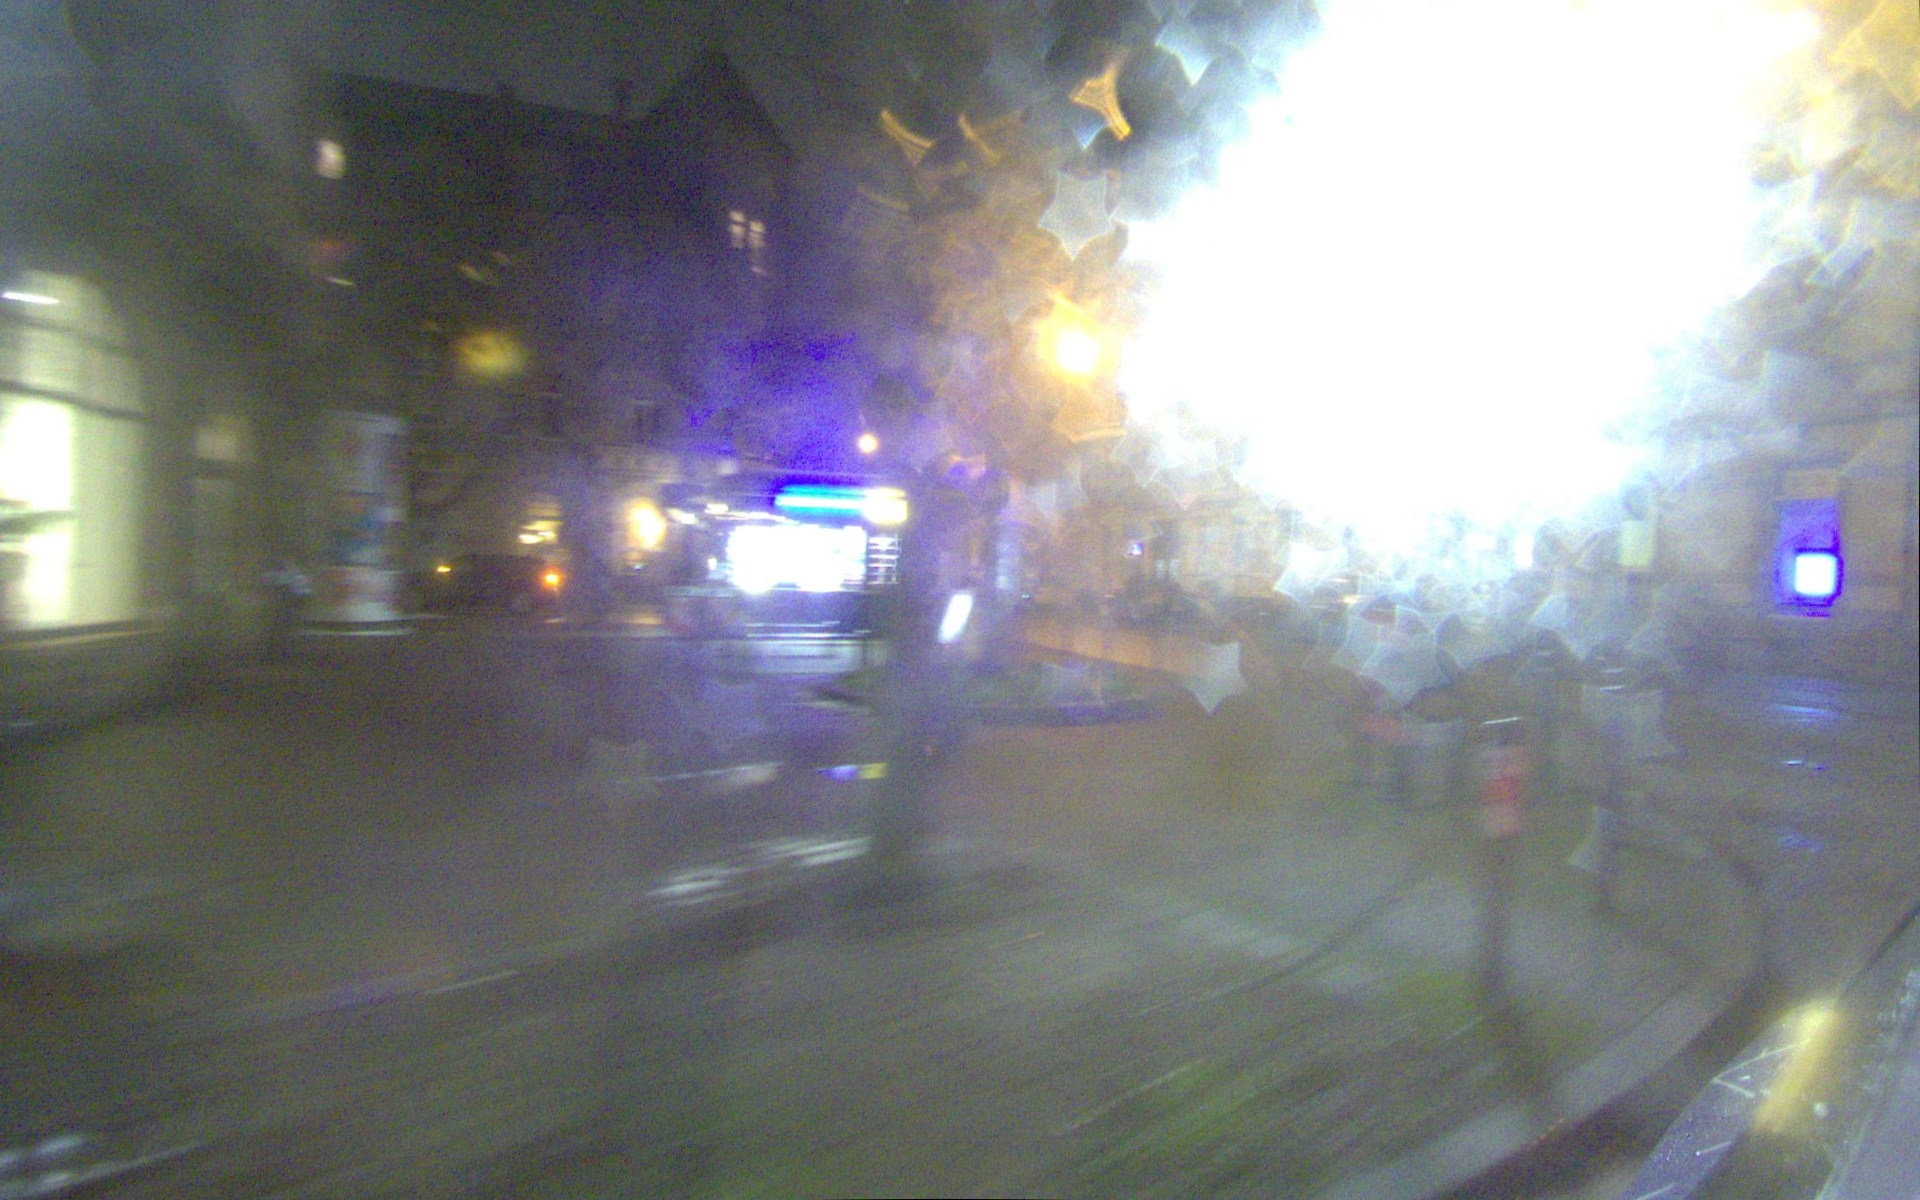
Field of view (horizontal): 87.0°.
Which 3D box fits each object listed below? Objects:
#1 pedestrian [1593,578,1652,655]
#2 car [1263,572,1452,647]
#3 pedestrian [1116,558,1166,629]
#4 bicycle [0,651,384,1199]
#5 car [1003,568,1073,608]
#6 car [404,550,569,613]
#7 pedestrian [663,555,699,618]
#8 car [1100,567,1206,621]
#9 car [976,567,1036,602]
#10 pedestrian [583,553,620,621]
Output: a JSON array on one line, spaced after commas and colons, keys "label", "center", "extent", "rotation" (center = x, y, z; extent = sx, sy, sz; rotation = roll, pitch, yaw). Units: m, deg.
[{"label": "pedestrian", "center": [13.402, 0.326, 20.474], "extent": [0.621, 1.512, 0.770], "rotation": [0, 0, -15]}, {"label": "car", "center": [9.467, 0.146, 24.569], "extent": [1.849, 1.613, 4.507], "rotation": [0, 2, -17]}, {"label": "pedestrian", "center": [4.663, -0.155, 26.133], "extent": [1.021, 1.786, 0.690], "rotation": [2, -1, -26]}, {"label": "bicycle", "center": [-1.604, 0.706, 1.623], "extent": [1.615, 1.094, 0.558], "rotation": [2, 4, 35]}, {"label": "car", "center": [3.317, -0.562, 44.101], "extent": [1.729, 1.614, 4.216], "rotation": [0, 2, -15]}, {"label": "car", "center": [-12.687, -0.493, 27.388], "extent": [3.907, 1.597, 1.774], "rotation": [0, 1, -21]}, {"label": "pedestrian", "center": [-7.402, -0.355, 26.807], "extent": [0.682, 1.637, 0.737], "rotation": [0, 0, -38]}, {"label": "car", "center": [6.532, -0.275, 34.745], "extent": [1.842, 1.725, 4.296], "rotation": [0, 2, -15]}, {"label": "car", "center": [2.162, -0.766, 48.366], "extent": [1.712, 1.629, 3.959], "rotation": [0, 1, -15]}, {"label": "pedestrian", "center": [-8.721, -0.315, 24.655], "extent": [0.737, 1.637, 0.578], "rotation": [0, 0, -8]}]
